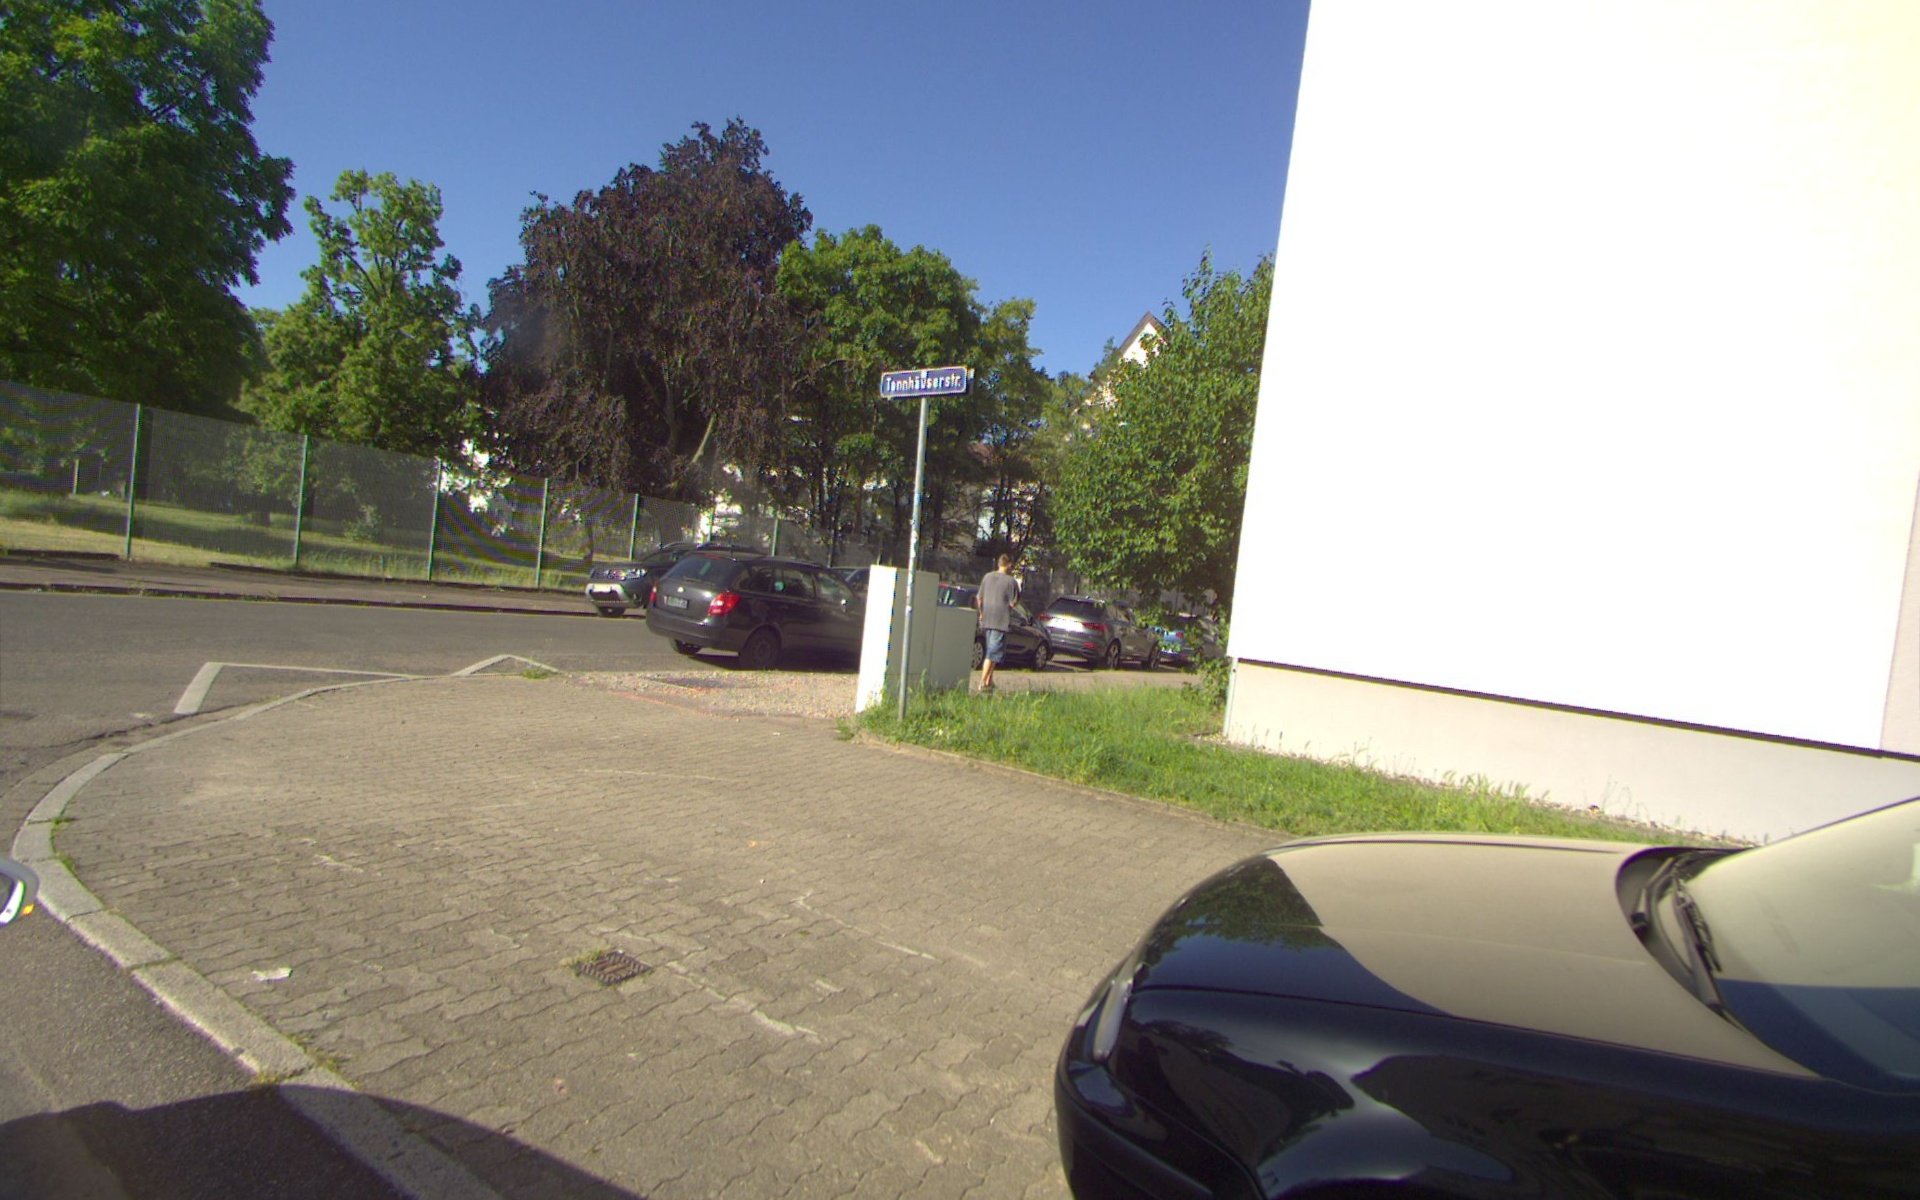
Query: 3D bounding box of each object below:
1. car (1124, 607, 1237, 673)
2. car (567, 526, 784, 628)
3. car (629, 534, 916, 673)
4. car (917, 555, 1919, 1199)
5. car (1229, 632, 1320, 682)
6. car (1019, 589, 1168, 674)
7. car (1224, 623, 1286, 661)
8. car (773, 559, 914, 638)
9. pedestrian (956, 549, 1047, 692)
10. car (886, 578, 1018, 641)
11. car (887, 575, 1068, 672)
[{"bbox_3d":[6.231,1.151,28.080,1.728,1.499,4.071,9,1,31],"label":"car"},{"bbox_3d":[-5.704,-0.414,20.666,1.690,1.684,4.155,4,-1,32],"label":"car"},{"bbox_3d":[-2.503,0.144,14.445,1.596,1.567,4.076,8,0,32],"label":"car"},{"bbox_3d":[2.103,0.861,1.499,3.982,1.434,1.797,7,4,33],"label":"car"},{"bbox_3d":[11.424,2.094,36.380,1.730,1.462,4.509,8,1,35],"label":"car"},{"bbox_3d":[3.182,0.786,23.238,1.728,1.578,4.246,9,1,31],"label":"car"},{"bbox_3d":[15.872,2.279,54.033,1.769,1.582,4.447,9,1,34],"label":"car"},{"bbox_3d":[-2.837,0.003,25.199,1.543,1.663,3.607,4,-1,32],"label":"car"},{"bbox_3d":[0.560,0.284,13.403,0.637,1.794,0.838,9,2,37],"label":"pedestrian"},{"bbox_3d":[-0.157,0.327,29.259,1.771,1.463,4.109,6,-1,33],"label":"car"},{"bbox_3d":[0.436,0.510,19.178,1.583,1.503,3.789,8,1,32],"label":"car"}]
